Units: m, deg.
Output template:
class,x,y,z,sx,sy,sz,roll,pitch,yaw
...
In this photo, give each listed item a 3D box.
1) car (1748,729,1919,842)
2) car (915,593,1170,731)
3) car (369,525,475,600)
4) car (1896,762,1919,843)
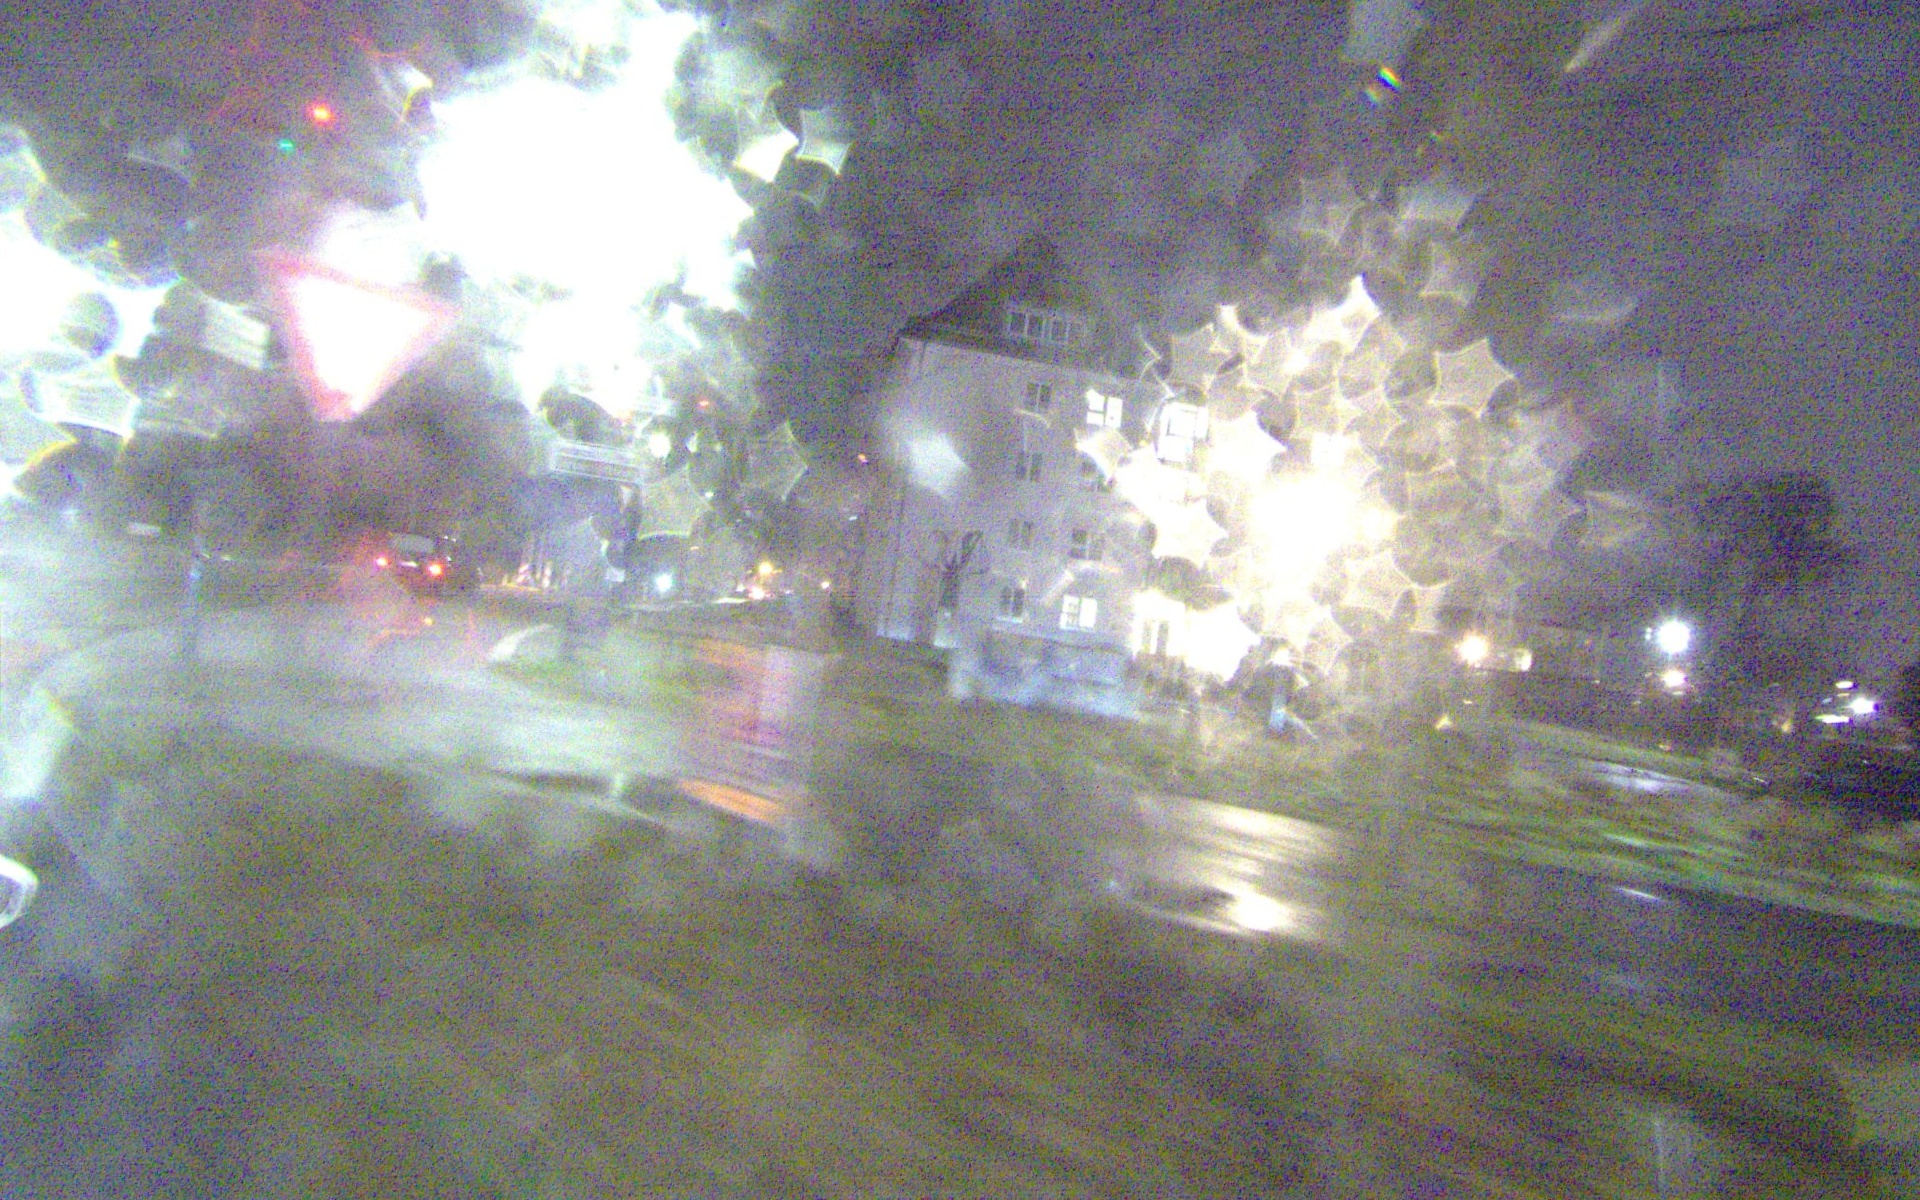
class,x,y,z,sx,sy,sz,roll,pitch,yaw
car,16.870,3.441,18.163,1.693,1.514,3.906,9,-1,-9
car,1.325,1.017,17.141,3.926,1.704,1.919,8,-1,0
car,-17.809,-1.200,33.542,1.971,2.037,4.542,9,-1,-16
car,19.533,3.934,17.906,1.693,1.512,3.911,8,-4,-9
